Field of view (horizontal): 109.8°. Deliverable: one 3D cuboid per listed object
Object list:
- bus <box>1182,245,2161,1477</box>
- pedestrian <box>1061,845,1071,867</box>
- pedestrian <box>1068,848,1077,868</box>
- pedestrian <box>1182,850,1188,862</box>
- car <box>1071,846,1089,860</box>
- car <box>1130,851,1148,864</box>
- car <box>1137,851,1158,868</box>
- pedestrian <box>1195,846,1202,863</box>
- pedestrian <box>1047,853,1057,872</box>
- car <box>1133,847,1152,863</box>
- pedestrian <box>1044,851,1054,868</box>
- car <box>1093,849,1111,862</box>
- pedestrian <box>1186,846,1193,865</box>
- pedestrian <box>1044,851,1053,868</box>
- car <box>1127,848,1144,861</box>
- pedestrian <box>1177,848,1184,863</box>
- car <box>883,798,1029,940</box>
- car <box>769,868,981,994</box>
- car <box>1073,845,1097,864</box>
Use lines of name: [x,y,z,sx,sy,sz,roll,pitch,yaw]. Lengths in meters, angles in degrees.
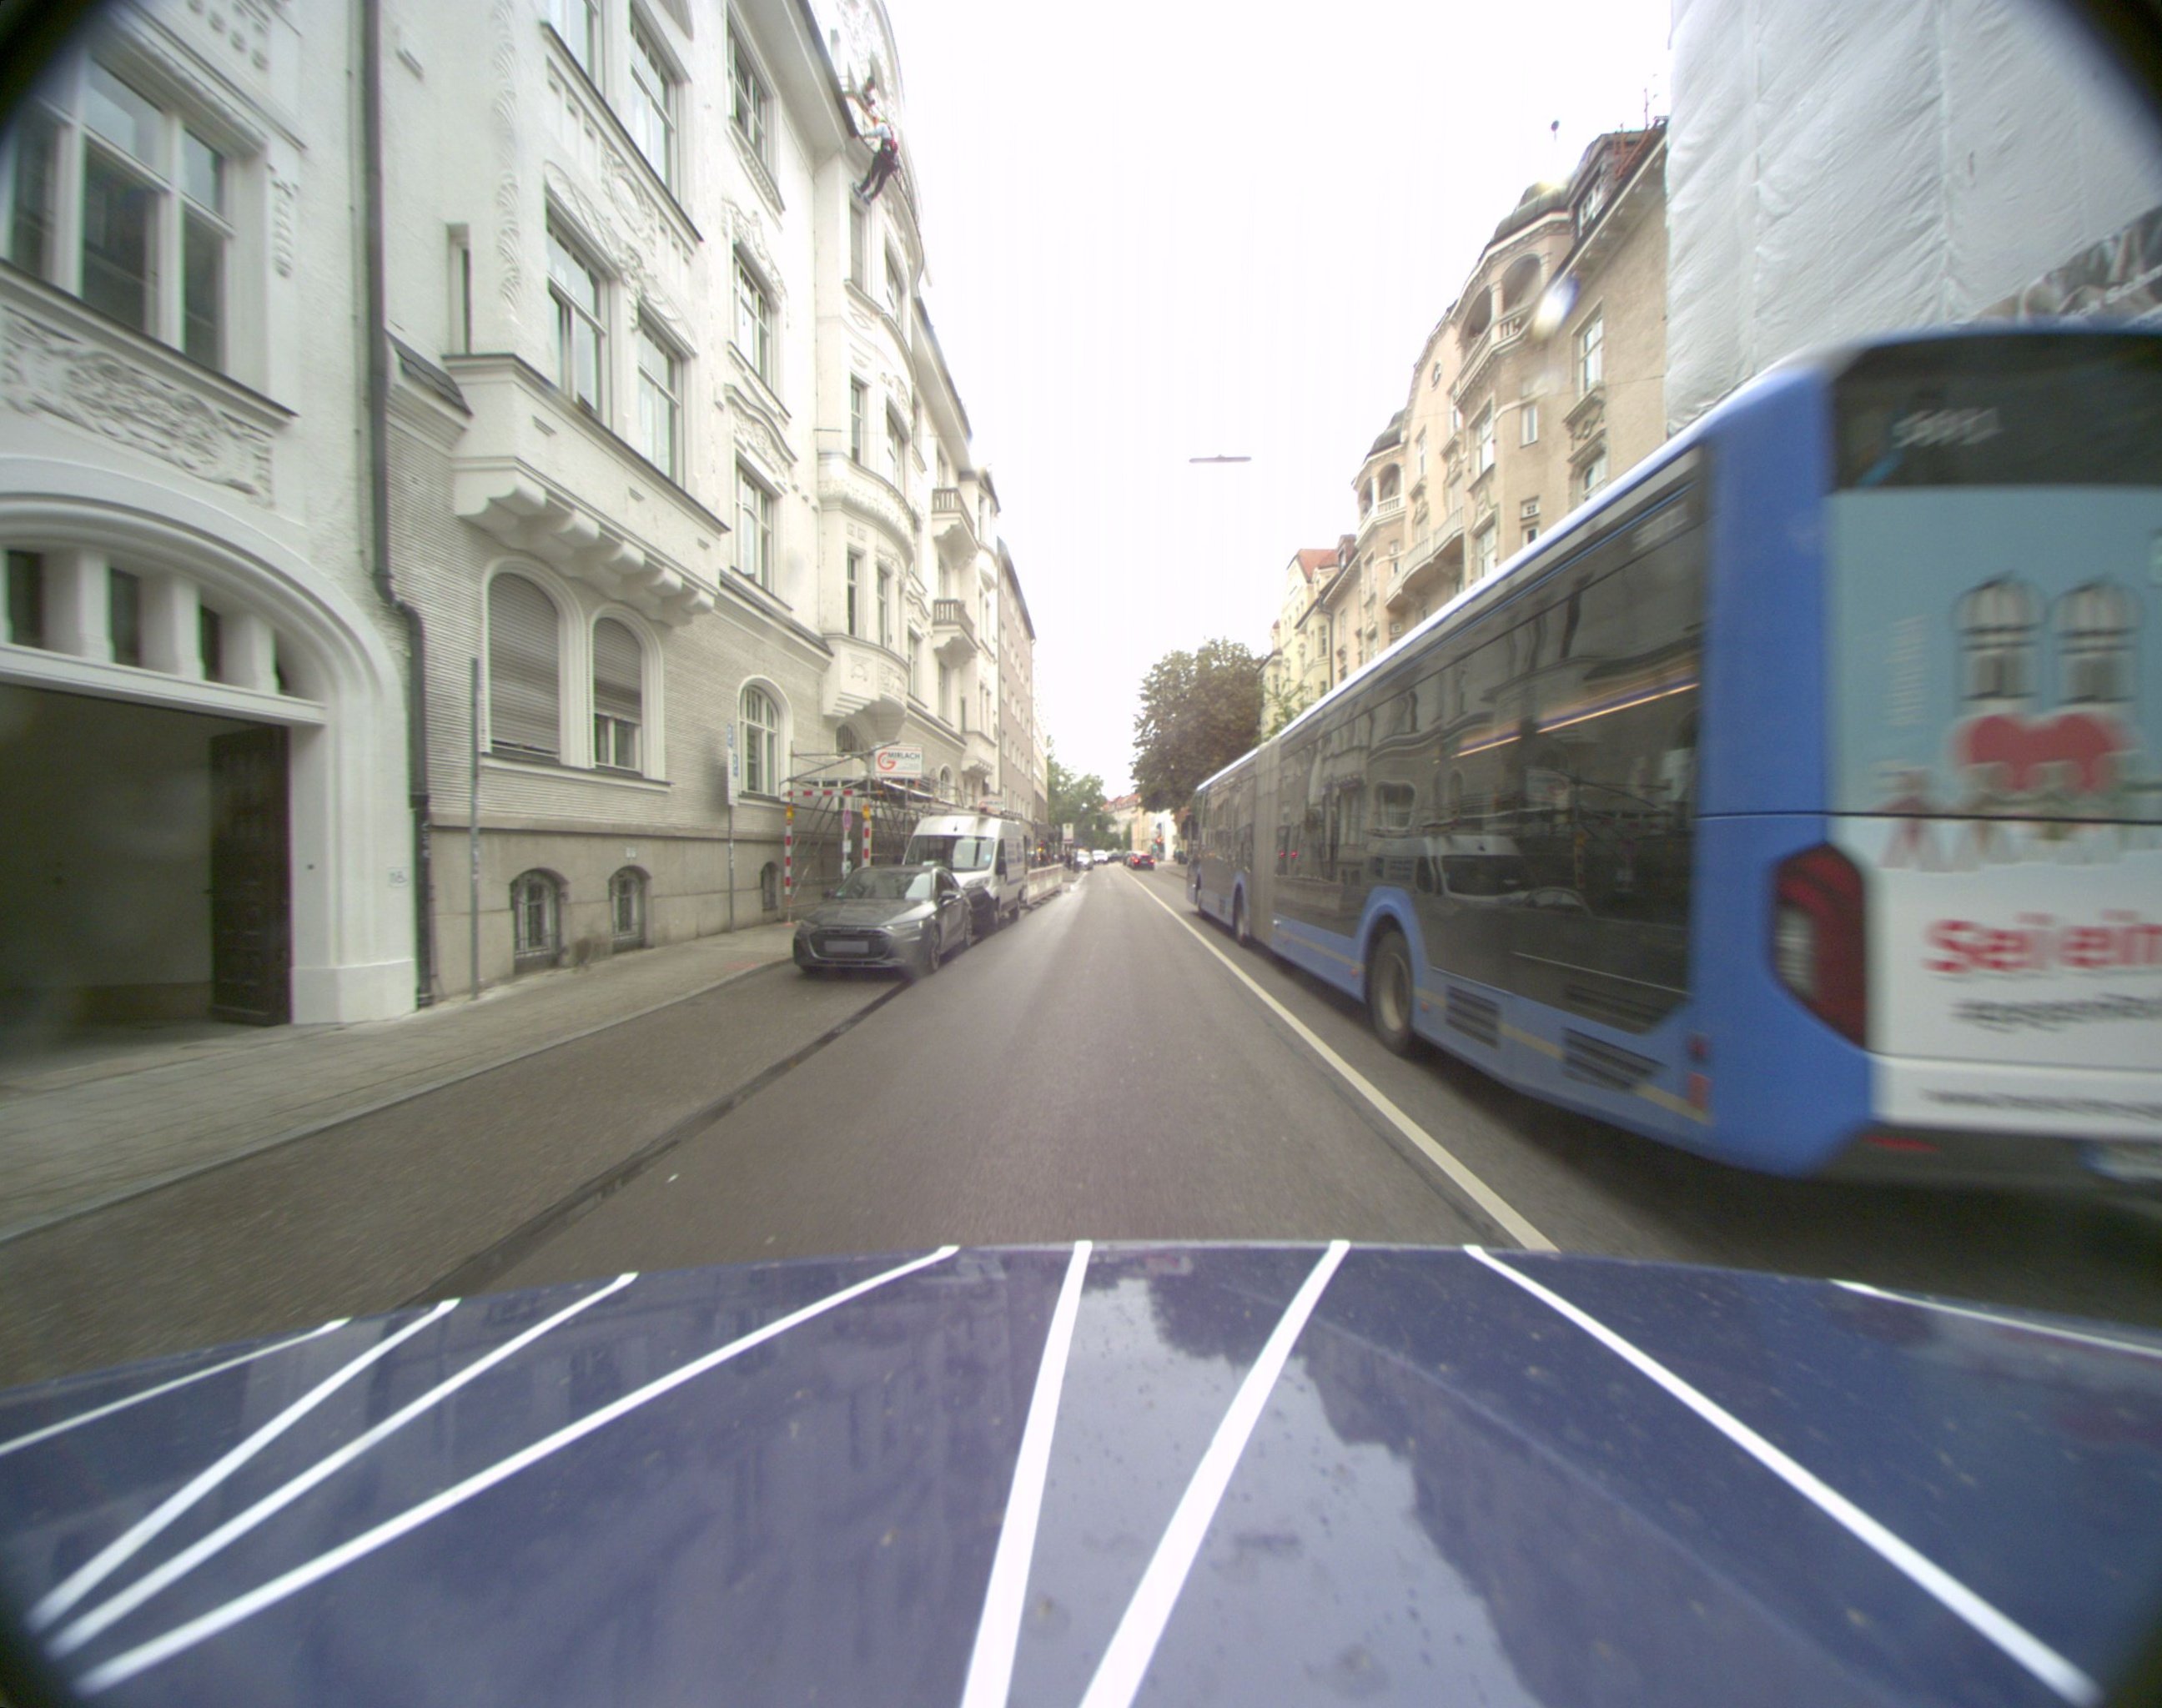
bus: [4.005,-0.021,10.971,3.179,3.193,18.057,1,1,2]
pedestrian: [-1.248,0.201,64.188,0.826,1.849,0.820,-1,1,1]
pedestrian: [-0.751,0.348,65.470,0.745,1.706,0.616,0,1,2]
pedestrian: [11.147,0.234,81.262,0.546,1.237,0.577,0,1,2]
car: [-0.062,-0.106,90.440,1.723,1.622,4.002,0,1,7]
car: [6.202,0.349,80.803,1.723,1.398,4.002,0,0,7]
car: [5.919,0.470,67.679,1.723,1.398,4.002,0,0,7]
pedestrian: [11.152,0.064,72.076,0.625,1.611,0.662,0,1,2]
pedestrian: [-2.478,0.701,65.281,0.837,1.580,0.806,0,1,-2]
car: [6.068,0.125,74.998,1.723,1.536,4.002,0,0,7]
pedestrian: [-2.610,0.475,62.455,0.837,1.399,0.866,0,1,-2]
car: [2.710,0.150,96.853,1.918,1.648,4.603,0,0,5]
pedestrian: [11.171,0.171,78.329,0.625,1.945,0.662,0,1,2]
pedestrian: [-2.733,0.445,63.678,0.747,1.439,0.571,0,1,2]
car: [6.294,0.073,87.386,1.723,1.398,4.002,0,0,7]
pedestrian: [10.677,0.116,81.669,0.625,1.579,0.662,0,1,2]
car: [-2.572,0.262,17.180,2.081,2.673,5.446,1,1,3]
car: [-2.751,0.961,11.221,1.792,1.399,4.245,0,0,3]
car: [0.375,0.023,69.504,1.723,1.622,4.002,0,1,7]
